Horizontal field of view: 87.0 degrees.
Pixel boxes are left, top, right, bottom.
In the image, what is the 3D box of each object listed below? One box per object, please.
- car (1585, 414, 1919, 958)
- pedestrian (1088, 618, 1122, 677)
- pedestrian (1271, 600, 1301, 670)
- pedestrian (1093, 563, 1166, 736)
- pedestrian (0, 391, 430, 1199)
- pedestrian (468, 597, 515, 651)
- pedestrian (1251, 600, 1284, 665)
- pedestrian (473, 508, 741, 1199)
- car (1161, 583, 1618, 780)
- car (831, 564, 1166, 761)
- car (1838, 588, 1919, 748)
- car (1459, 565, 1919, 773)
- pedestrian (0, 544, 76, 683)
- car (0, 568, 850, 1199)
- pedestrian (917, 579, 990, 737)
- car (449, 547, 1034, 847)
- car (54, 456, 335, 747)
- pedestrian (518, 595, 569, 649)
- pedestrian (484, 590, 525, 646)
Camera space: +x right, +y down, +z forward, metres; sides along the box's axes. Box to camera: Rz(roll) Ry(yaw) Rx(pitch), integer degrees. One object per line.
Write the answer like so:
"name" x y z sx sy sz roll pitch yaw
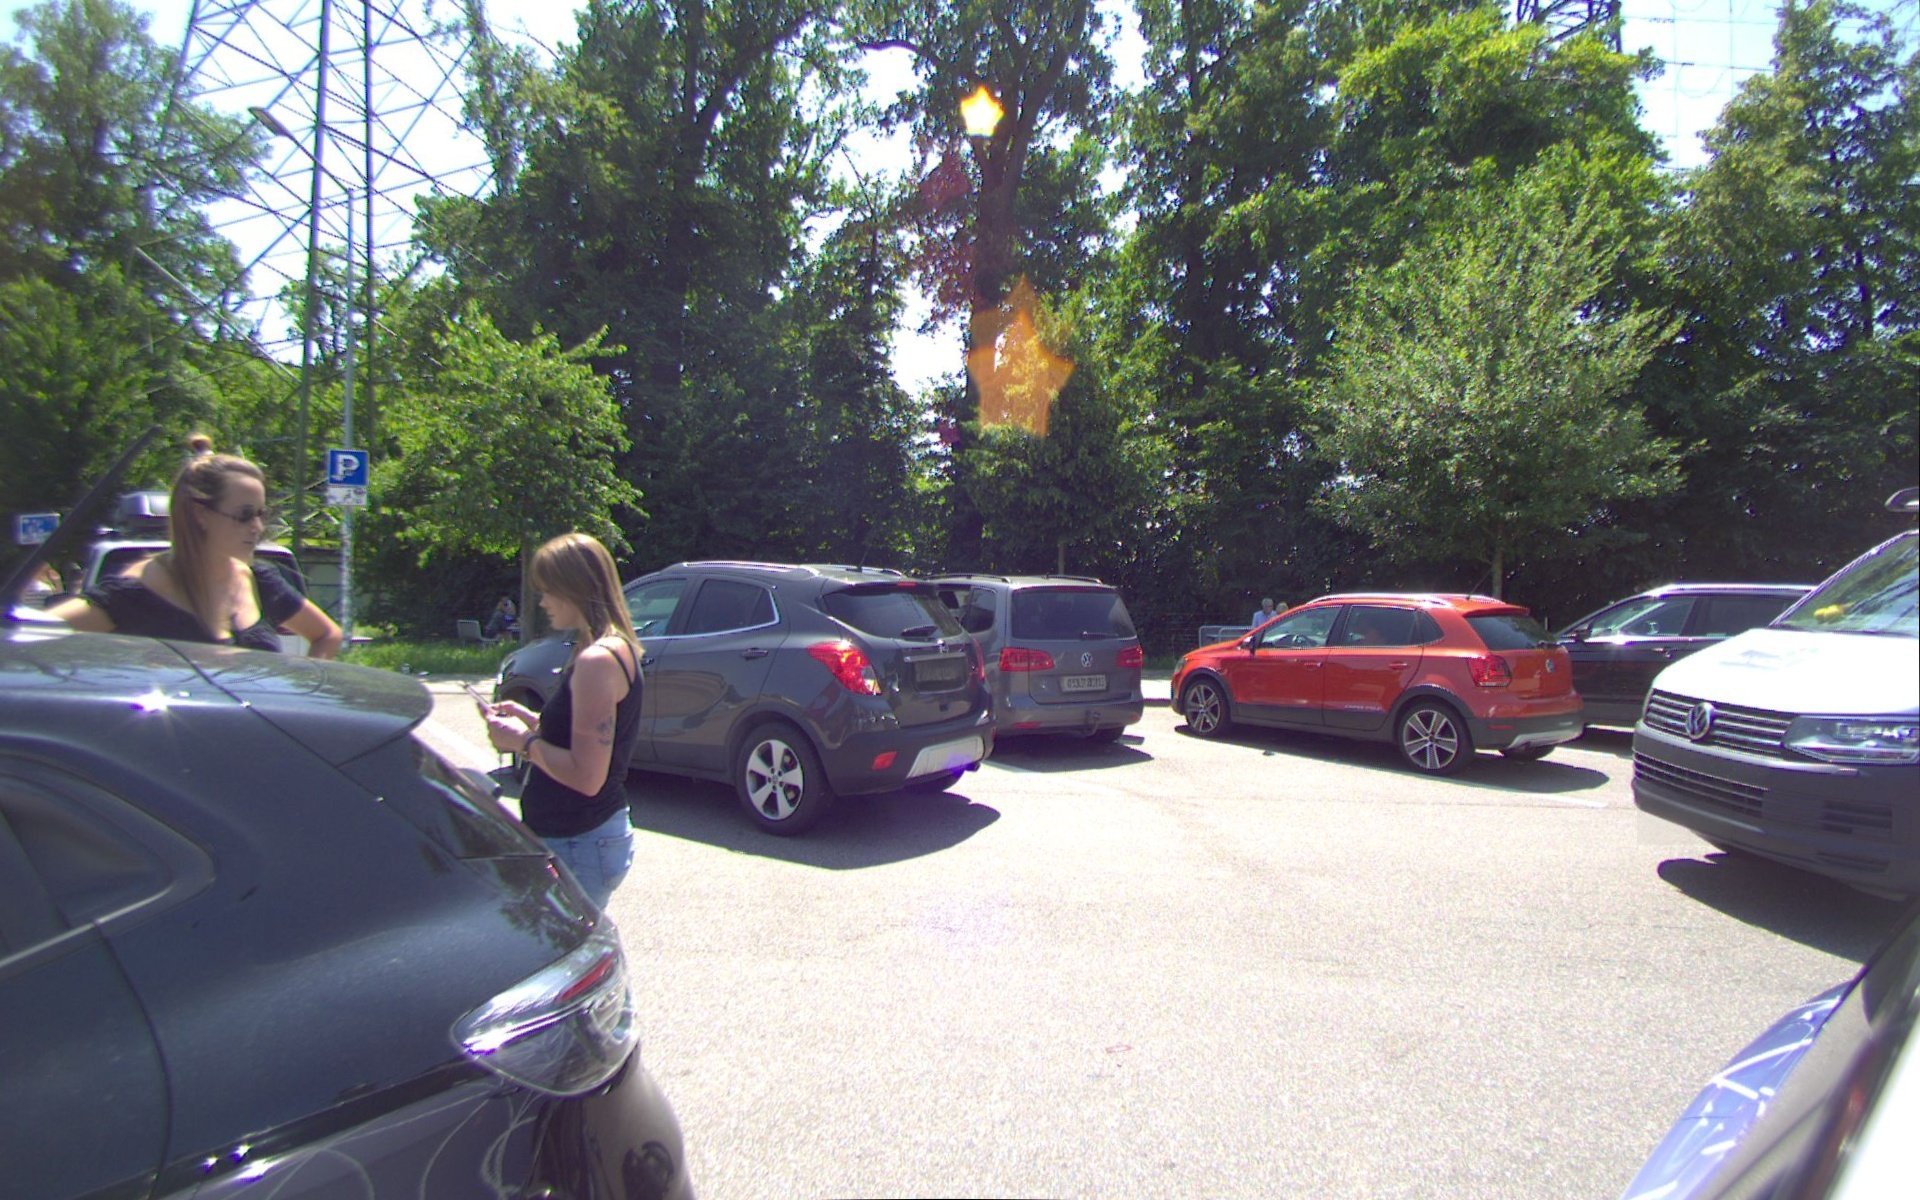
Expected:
"car" 6.217 0.354 4.698 5.336 2.131 1.842 1 1 4
"pedestrian" 2.265 0.737 15.778 0.494 0.890 0.512 1 -1 10
"pedestrian" 5.753 0.609 17.855 0.348 1.207 0.367 0 0 -20
"pedestrian" 1.758 0.494 10.519 0.576 1.744 0.483 0 0 -20
"pedestrian" -1.869 0.500 2.587 0.479 1.883 0.911 1 -1 4
"pedestrian" -10.508 0.527 22.699 0.785 1.178 0.696 0 0 39
"pedestrian" 5.783 0.599 19.024 0.433 1.207 0.414 0 0 -30
"pedestrian" -0.921 0.597 2.638 0.477 1.614 0.502 1 -1 -44
"car" 3.853 0.617 9.654 1.588 1.485 3.751 1 0 -34
"car" 0.192 0.507 10.544 1.670 1.637 3.912 0 0 -30
"car" 10.285 0.642 8.755 1.813 1.473 3.776 1 0 -36
"car" 7.135 0.540 9.726 1.679 1.637 3.863 1 0 -40
"pedestrian" -13.228 0.179 14.285 0.826 1.903 0.775 0 0 6
"car" -2.048 0.719 0.792 1.776 1.476 3.627 0 1 44
"pedestrian" -0.072 0.550 10.053 0.511 1.516 0.560 0 0 -30
"car" -1.701 0.513 7.429 4.136 1.637 1.817 1 0 33
"car" -8.355 0.003 10.835 1.897 2.400 4.963 1 -1 -43
"pedestrian" -9.688 0.494 23.537 0.810 1.201 0.836 0 0 40
"pedestrian" -11.030 0.430 24.517 0.539 1.318 0.758 0 0 37
